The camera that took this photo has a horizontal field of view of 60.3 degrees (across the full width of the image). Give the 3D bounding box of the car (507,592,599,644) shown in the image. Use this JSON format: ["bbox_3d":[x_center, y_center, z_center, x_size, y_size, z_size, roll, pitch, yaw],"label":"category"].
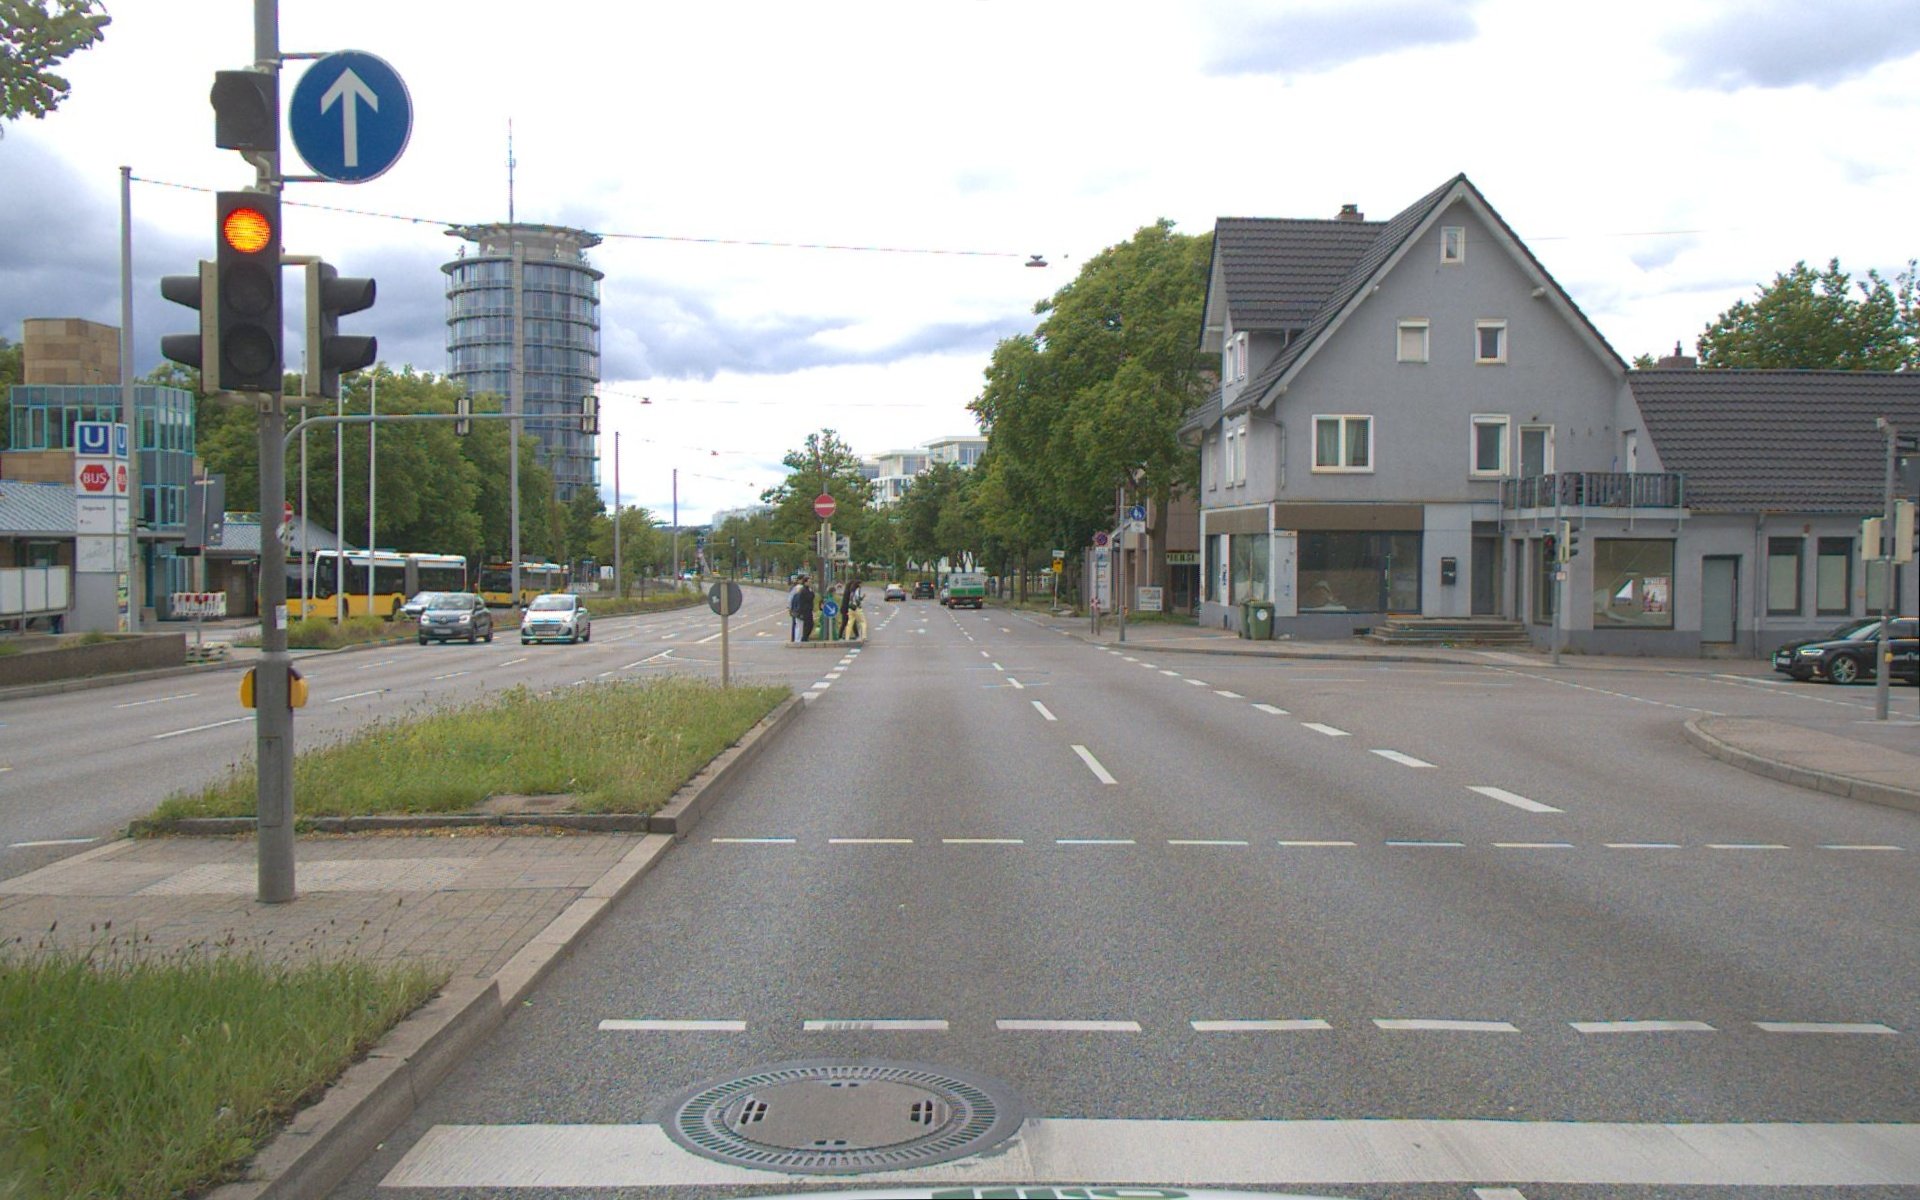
[{"bbox_3d":[-12.418,0.531,50.744,1.953,1.512,3.998,-1,0,-2],"label":"car"}]

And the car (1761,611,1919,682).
[{"bbox_3d":[19.566,0.992,35.349,4.006,1.395,1.799,2,0,-2],"label":"car"}]

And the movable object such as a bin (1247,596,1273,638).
[{"bbox_3d":[7.980,0.447,44.021,0.592,1.078,0.589,1,0,1],"label":"movable object such as a bin"}]

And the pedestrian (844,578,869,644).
[{"bbox_3d":[-2.751,0.291,43.964,0.641,1.746,0.451,0,0,-8],"label":"pedestrian"}]

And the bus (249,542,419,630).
[{"bbox_3d":[-26.971,-0.585,71.946,2.772,3.490,10.737,0,0,3],"label":"bus"}]

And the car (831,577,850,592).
[{"bbox_3d":[-12.736,-1.616,175.981,1.954,1.545,3.996,0,1,-5],"label":"car"}]

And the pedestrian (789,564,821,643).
[{"bbox_3d":[-4.095,0.090,43.678,0.814,2.049,0.545,0,0,-8],"label":"pedestrian"}]

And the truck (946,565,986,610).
[{"bbox_3d":[0.368,-0.830,105.051,2.420,2.656,6.548,1,1,0],"label":"truck"}]

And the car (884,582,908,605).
[{"bbox_3d":[-5.310,-0.527,137.930,1.953,1.862,3.999,1,0,-1],"label":"car"}]

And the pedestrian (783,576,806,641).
[{"bbox_3d":[-4.532,0.234,45.179,0.601,1.746,0.545,0,0,-8],"label":"pedestrian"}]

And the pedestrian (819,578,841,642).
[{"bbox_3d":[-3.580,0.270,45.602,0.572,1.746,0.545,0,0,-8],"label":"pedestrian"}]

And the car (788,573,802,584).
[{"bbox_3d":[-25.394,-3.299,254.604,1.957,1.579,3.991,-1,0,-10],"label":"car"}]

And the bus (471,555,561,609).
[{"bbox_3d":[-30.368,-1.186,113.644,2.772,3.490,10.737,0,0,3],"label":"bus"}]

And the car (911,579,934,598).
[{"bbox_3d":[-3.268,-1.013,144.483,1.953,1.579,3.999,1,0,-1],"label":"car"}]

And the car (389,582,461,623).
[{"bbox_3d":[-22.906,0.090,70.948,1.769,1.691,4.000,0,0,0],"label":"car"}]

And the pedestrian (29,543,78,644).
[{"bbox_3d":[-18.667,-0.129,34.084,0.668,2.049,0.645,0,0,-5],"label":"pedestrian"}]

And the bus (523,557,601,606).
[{"bbox_3d":[-29.802,-1.331,124.393,2.772,3.490,10.737,0,0,3],"label":"bus"}]

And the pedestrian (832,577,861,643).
[{"bbox_3d":[-3.042,0.267,44.461,0.731,1.746,0.582,0,0,-8],"label":"pedestrian"}]

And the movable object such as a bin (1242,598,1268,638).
[{"bbox_3d":[7.952,0.474,44.579,0.603,1.061,0.589,1,0,1],"label":"movable object such as a bin"}]

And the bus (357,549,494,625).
[{"bbox_3d":[-26.420,-0.631,82.396,2.772,3.490,10.737,0,0,3],"label":"bus"}]

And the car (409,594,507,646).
[{"bbox_3d":[-15.445,0.588,51.084,1.953,1.512,3.998,-1,0,-2],"label":"car"}]

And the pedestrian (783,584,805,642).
[{"bbox_3d":[-4.433,0.341,44.223,0.533,1.522,0.485,0,0,-10],"label":"pedestrian"}]
